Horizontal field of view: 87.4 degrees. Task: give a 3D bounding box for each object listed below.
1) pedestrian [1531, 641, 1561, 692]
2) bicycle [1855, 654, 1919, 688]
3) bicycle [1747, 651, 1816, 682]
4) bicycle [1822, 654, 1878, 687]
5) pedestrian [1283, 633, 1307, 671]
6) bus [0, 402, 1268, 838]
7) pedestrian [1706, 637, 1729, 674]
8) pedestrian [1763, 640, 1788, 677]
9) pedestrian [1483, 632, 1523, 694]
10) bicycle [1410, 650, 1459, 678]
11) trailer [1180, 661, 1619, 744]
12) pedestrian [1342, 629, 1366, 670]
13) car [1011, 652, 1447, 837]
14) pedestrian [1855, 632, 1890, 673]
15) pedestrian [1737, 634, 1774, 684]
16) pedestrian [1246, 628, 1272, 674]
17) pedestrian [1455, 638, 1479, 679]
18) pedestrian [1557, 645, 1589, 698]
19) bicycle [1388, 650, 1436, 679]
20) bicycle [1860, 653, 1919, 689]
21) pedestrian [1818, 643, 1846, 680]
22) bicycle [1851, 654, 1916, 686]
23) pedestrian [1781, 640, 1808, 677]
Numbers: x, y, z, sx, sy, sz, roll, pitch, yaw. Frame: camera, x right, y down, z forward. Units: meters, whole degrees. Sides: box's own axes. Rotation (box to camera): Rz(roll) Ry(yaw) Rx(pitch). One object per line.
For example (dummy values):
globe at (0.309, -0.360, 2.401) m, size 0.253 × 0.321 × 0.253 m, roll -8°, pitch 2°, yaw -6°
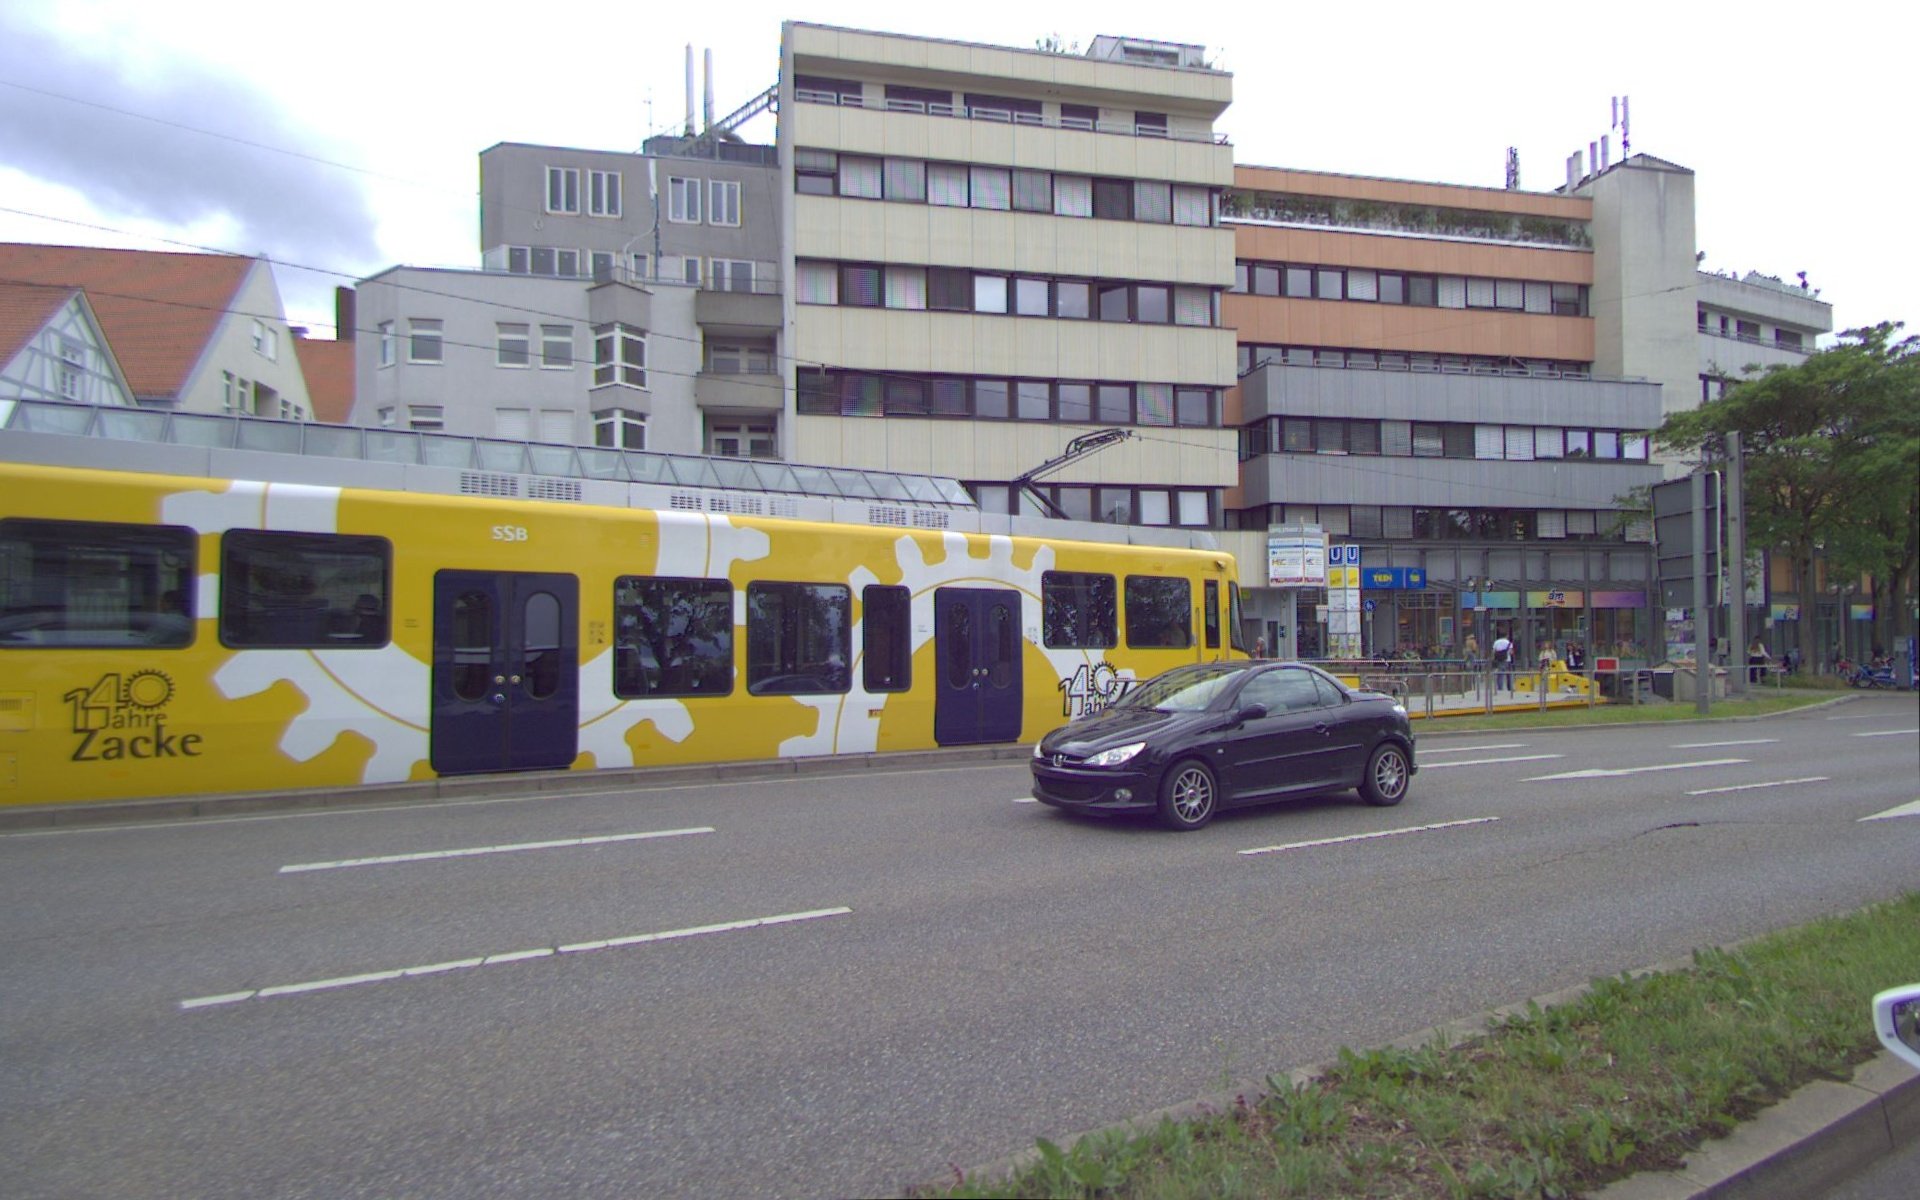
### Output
pedestrian at (18.447, 2.077, 31.619) m, size 0.613 × 1.594 × 0.596 m, roll 1°, pitch -2°, yaw -30°
bicycle at (33.364, 2.529, 35.955) m, size 1.925 × 1.176 × 0.605 m, roll 0°, pitch -2°, yaw 12°
bicycle at (32.421, 2.615, 39.666) m, size 1.979 × 1.176 × 0.674 m, roll -1°, pitch -2°, yaw 20°
bicycle at (32.678, 2.566, 36.879) m, size 1.933 × 1.176 × 0.603 m, roll 1°, pitch -2°, yaw -17°
pedestrian at (15.566, 2.400, 46.685) m, size 0.698 × 1.739 × 0.700 m, roll 2°, pitch 0°, yaw -28°
bus at (-3.620, 0.415, 14.428) m, size 19.127 × 3.910 × 3.857 m, roll 2°, pitch -3°, yaw -32°
pedestrian at (34.015, 2.492, 45.106) m, size 0.610 × 1.621 × 0.635 m, roll 1°, pitch 0°, yaw 11°
pedestrian at (36.205, 2.582, 44.587) m, size 0.614 × 1.621 × 0.631 m, roll 2°, pitch 0°, yaw -23°
pedestrian at (17.200, 1.983, 31.804) m, size 0.863 × 1.902 × 0.741 m, roll 1°, pitch -2°, yaw -28°
bicycle at (20.573, 2.766, 43.578) m, size 1.986 × 1.176 × 0.672 m, roll 1°, pitch -2°, yaw -17°
trailer at (10.328, 2.126, 22.631) m, size 11.992 × 1.350 × 2.826 m, roll 2°, pitch -3°, yaw -32°
pedestrian at (16.868, 2.111, 43.029) m, size 0.627 × 1.720 × 0.701 m, roll 1°, pitch 0°, yaw -28°
car at (2.510, 1.184, 9.177) m, size 3.901 × 1.362 × 1.500 m, roll 1°, pitch -4°, yaw -29°
pedestrian at (40.183, 2.312, 44.231) m, size 0.771 × 1.739 × 0.776 m, roll 2°, pitch 0°, yaw -2°
pedestrian at (28.864, 2.132, 36.449) m, size 0.697 × 1.735 × 0.773 m, roll 2°, pitch 0°, yaw -25°
pedestrian at (11.402, 1.928, 38.312) m, size 0.660 × 1.723 × 0.683 m, roll 1°, pitch -2°, yaw -28°
pedestrian at (21.437, 2.471, 42.478) m, size 0.660 × 1.723 × 0.647 m, roll 1°, pitch -2°, yaw -28°
pedestrian at (18.909, 2.188, 30.982) m, size 0.613 × 1.594 × 0.596 m, roll 1°, pitch -2°, yaw -30°
bicycle at (19.349, 2.756, 43.023) m, size 0.664 × 1.176 × 2.011 m, roll 1°, pitch -2°, yaw -18°
bicycle at (32.897, 2.479, 35.209) m, size 1.925 × 1.177 × 0.605 m, roll 1°, pitch 0°, yaw 13°
pedestrian at (41.929, 2.965, 48.294) m, size 0.780 × 1.739 × 0.767 m, roll 2°, pitch 0°, yaw -28°
bicycle at (34.098, 2.579, 37.110) m, size 1.655 × 1.176 × 0.605 m, roll 0°, pitch -2°, yaw 11°
pedestrian at (36.387, 2.547, 43.798) m, size 0.697 × 1.605 × 0.664 m, roll 2°, pitch 0°, yaw -25°
